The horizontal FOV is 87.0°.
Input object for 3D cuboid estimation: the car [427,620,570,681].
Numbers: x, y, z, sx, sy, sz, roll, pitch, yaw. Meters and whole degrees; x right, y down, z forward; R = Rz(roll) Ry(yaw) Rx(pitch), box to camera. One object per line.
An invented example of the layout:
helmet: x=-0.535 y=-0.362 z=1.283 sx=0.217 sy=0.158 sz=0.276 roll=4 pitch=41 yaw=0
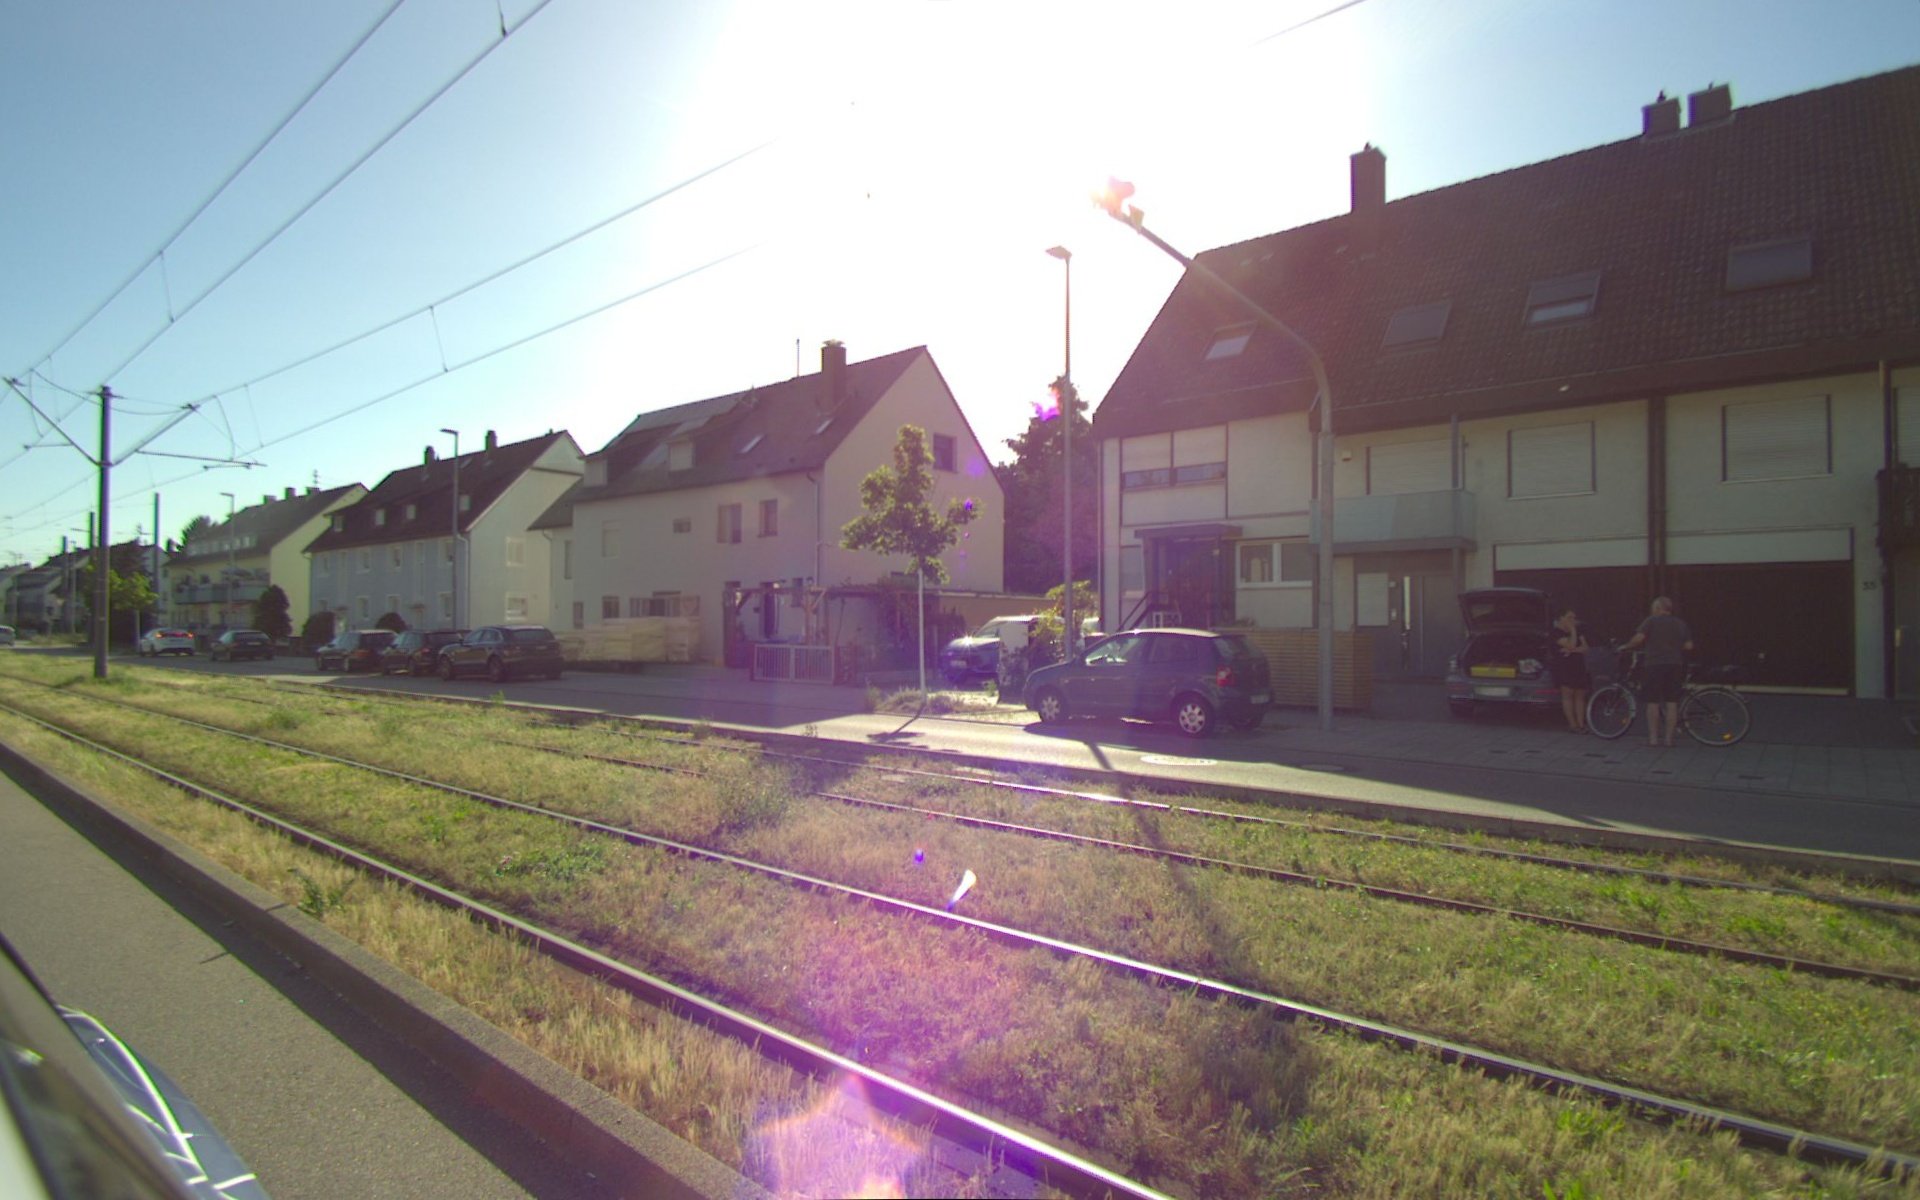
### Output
car: x=-13.364 y=1.384 z=29.175 sx=4.856 sy=1.572 sz=1.901 roll=-1 pitch=0 yaw=41

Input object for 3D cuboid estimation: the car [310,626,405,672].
car: x=-21.371 y=1.687 z=35.831 sx=4.399 sy=1.466 sz=1.636 roll=-1 pitch=-1 yaw=41

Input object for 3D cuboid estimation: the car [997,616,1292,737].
car: x=2.618 y=1.041 z=15.029 sx=4.085 sy=1.523 sz=1.601 roll=-2 pitch=-1 yaw=43

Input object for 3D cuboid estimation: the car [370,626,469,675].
car: x=-17.400 y=1.605 z=32.522 sx=3.996 sy=1.479 sz=1.450 roll=-2 pitch=-3 yaw=40

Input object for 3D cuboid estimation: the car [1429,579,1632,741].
car: x=9.066 y=0.791 z=15.901 sx=1.787 sy=2.096 sz=4.413 roll=-1 pitch=1 yaw=42

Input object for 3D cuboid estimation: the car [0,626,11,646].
car: x=-74.726 y=2.792 z=78.153 sx=4.091 sy=1.475 sz=1.682 roll=-1 pitch=0 yaw=41

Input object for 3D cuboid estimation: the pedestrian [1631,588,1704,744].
pedestrian: x=8.559 y=0.776 z=12.271 sx=0.677 sy=1.829 sz=0.610 roll=-1 pitch=-1 yaw=33

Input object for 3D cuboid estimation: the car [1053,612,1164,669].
car: x=4.485 y=1.177 z=30.225 sx=1.508 sy=1.605 sz=3.796 roll=-2 pitch=-2 yaw=40

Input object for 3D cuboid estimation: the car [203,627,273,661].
car: x=-32.553 y=1.961 z=45.573 sx=4.091 sy=1.408 sz=1.682 roll=-1 pitch=0 yaw=41

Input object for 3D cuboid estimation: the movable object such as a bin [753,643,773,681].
movable object such as a bin: x=-5.427 y=1.714 z=27.900 sx=0.607 sy=1.021 sz=0.196 roll=-4 pitch=-2 yaw=44

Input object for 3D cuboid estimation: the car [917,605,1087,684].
car: x=1.127 y=1.082 z=25.415 sx=1.969 sy=1.797 sz=4.346 roll=-2 pitch=-3 yaw=41

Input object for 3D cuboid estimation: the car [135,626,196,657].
car: x=-41.786 y=2.153 z=53.174 sx=4.091 sy=1.542 sz=1.808 roll=-1 pitch=0 yaw=41

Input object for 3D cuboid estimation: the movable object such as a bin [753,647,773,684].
movable object such as a bin: x=-5.225 y=1.732 z=26.862 sx=0.607 sy=0.954 sz=0.196 roll=-4 pitch=-2 yaw=44

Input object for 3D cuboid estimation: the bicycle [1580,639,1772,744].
bicycle: x=8.826 y=1.091 z=12.554 sx=0.471 sy=1.172 sz=1.873 roll=0 pitch=-1 yaw=-42

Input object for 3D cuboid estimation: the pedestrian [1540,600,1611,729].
pedestrian: x=8.386 y=0.850 z=13.797 sx=0.544 sy=1.701 sz=0.625 roll=0 pitch=-1 yaw=-33
